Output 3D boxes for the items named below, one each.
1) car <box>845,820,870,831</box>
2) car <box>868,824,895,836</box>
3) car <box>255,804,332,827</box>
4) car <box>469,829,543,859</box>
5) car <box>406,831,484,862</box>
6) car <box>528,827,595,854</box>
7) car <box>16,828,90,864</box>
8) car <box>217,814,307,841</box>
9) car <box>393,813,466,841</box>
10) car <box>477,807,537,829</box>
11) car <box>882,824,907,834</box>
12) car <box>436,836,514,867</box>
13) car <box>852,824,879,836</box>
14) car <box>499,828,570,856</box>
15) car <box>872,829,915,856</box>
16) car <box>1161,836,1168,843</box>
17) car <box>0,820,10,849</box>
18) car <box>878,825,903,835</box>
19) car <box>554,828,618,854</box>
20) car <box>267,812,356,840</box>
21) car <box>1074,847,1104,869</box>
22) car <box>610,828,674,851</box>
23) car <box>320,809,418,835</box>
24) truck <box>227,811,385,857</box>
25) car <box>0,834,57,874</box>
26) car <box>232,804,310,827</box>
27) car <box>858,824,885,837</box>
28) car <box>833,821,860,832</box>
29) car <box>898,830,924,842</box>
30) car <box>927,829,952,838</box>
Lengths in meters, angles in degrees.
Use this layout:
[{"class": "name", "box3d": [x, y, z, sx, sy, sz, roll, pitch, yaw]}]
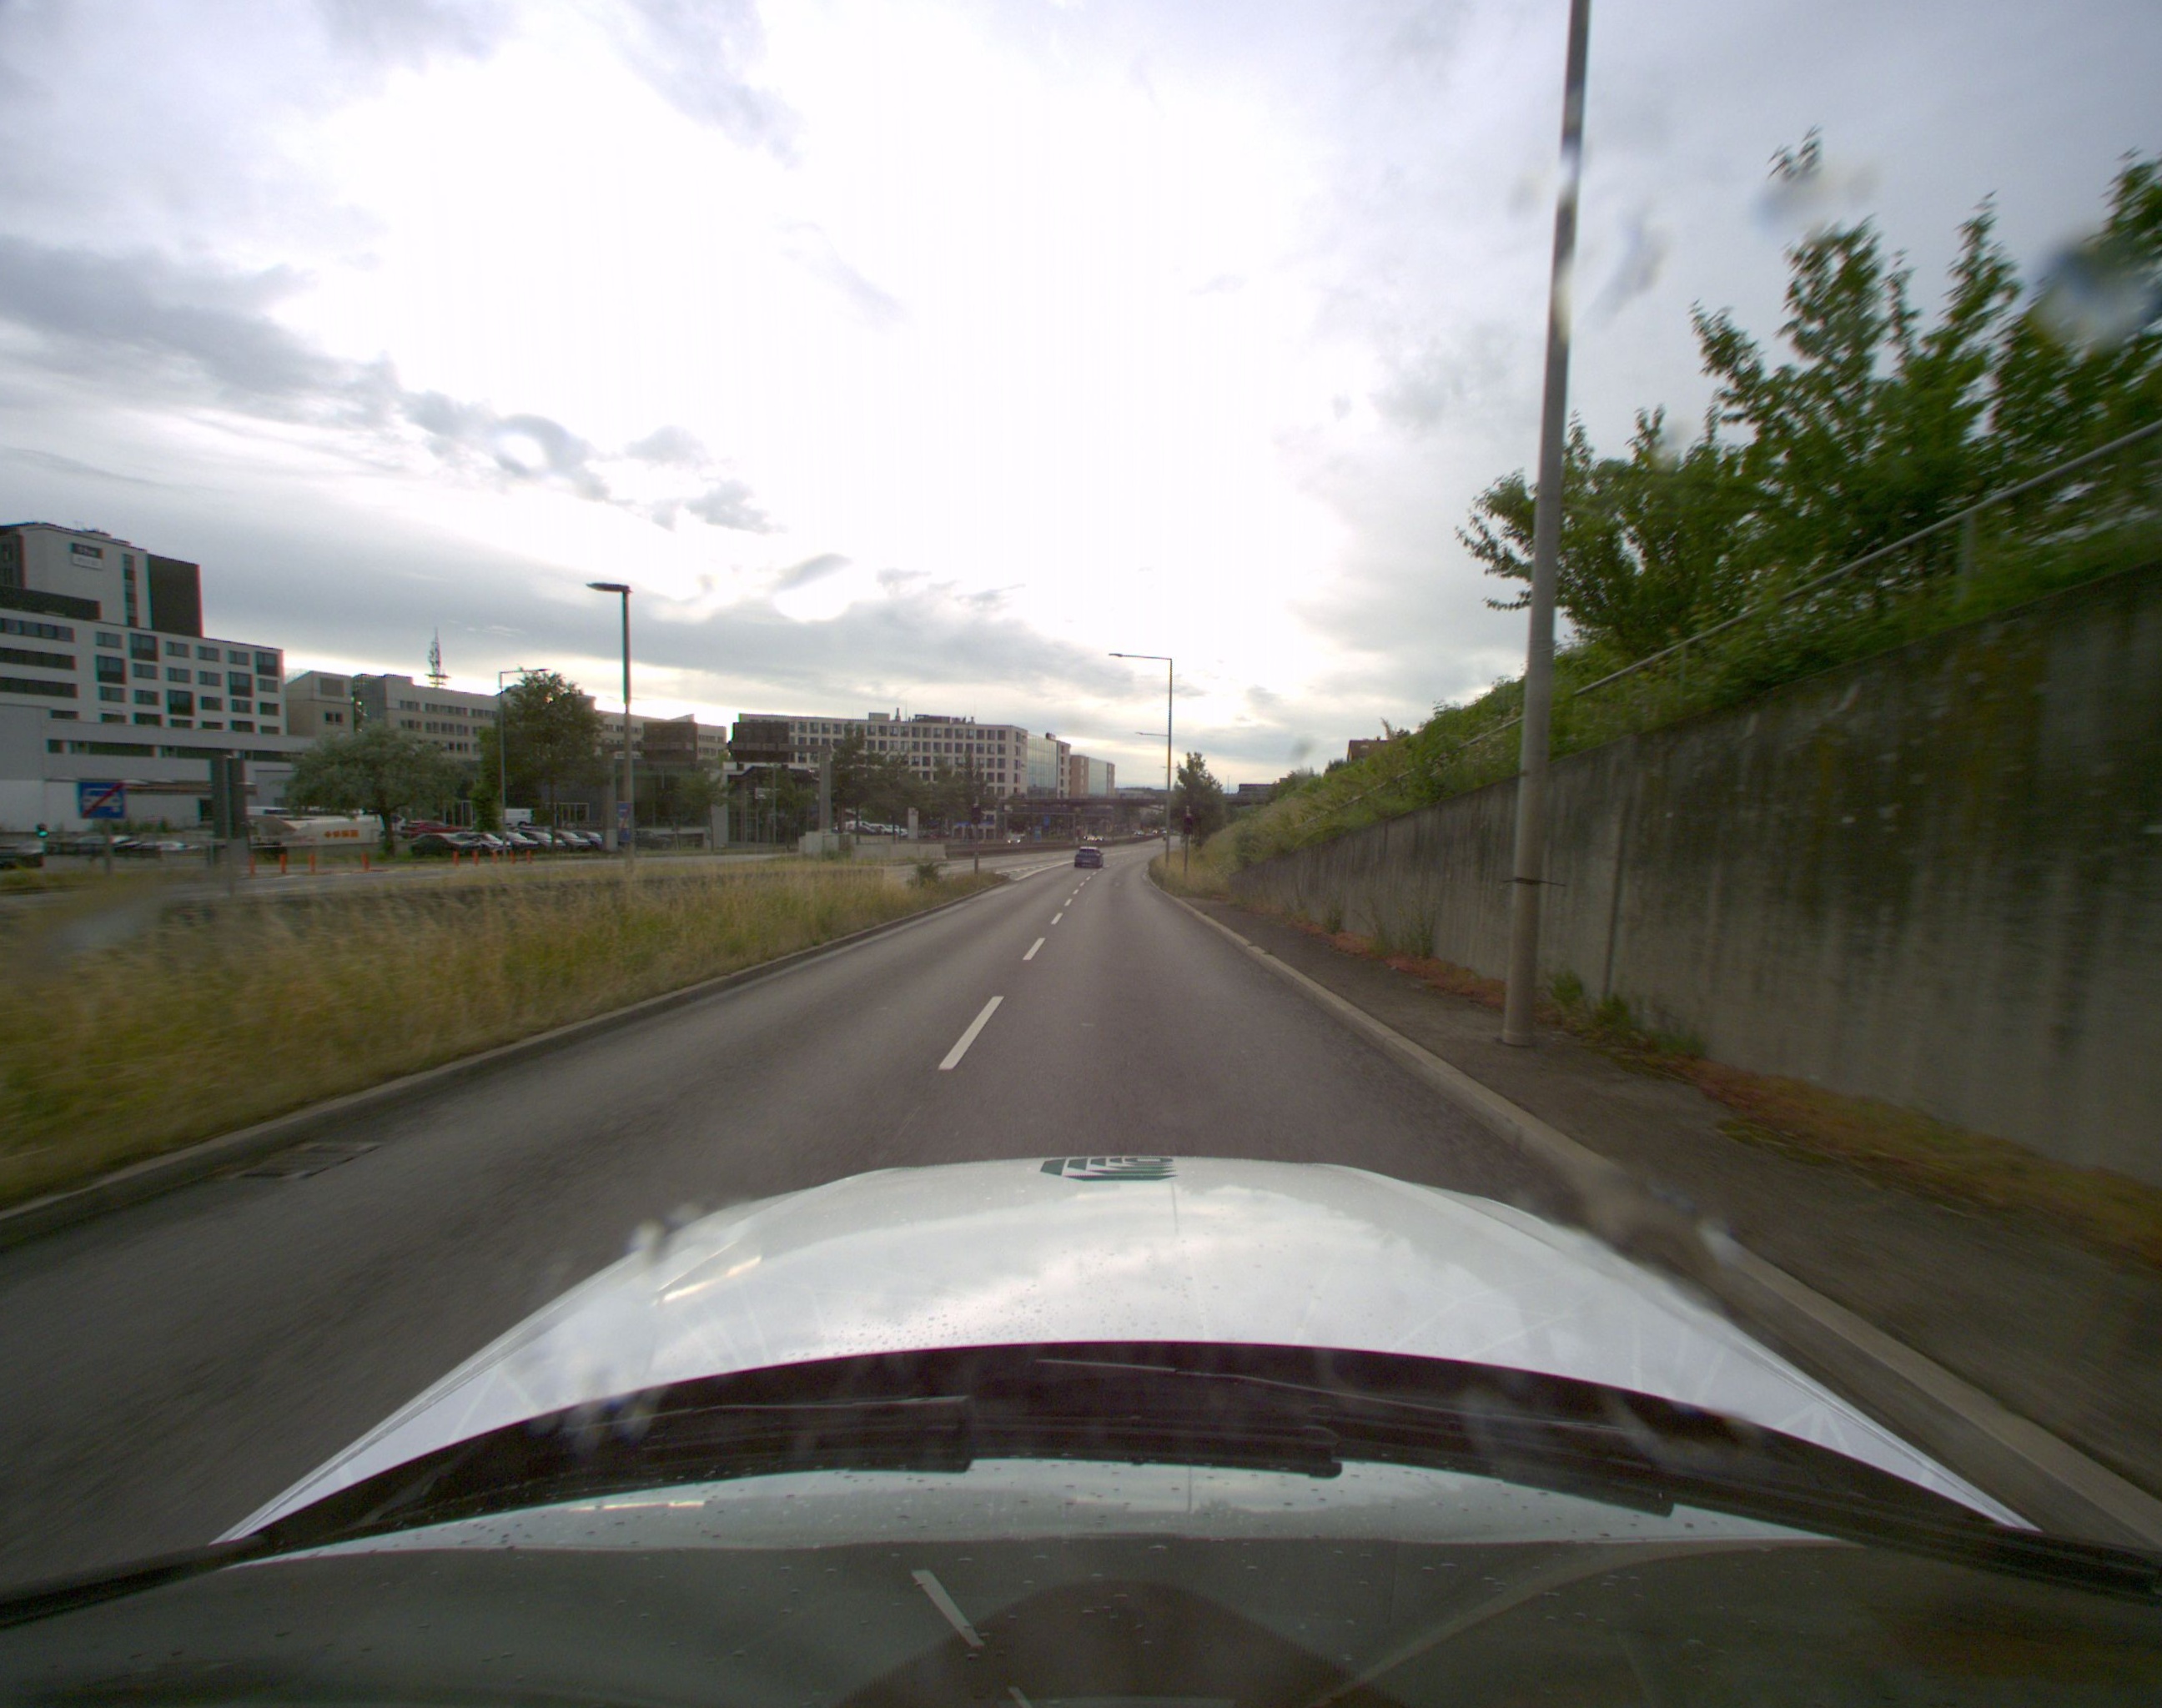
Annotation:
[{"class": "car", "box3d": [-40.880, -5.214, 149.087, 3.967, 1.650, 1.825, 4, 4, 5]}, {"class": "car", "box3d": [-35.030, -4.207, 143.080, 3.959, 1.875, 2.009, 4, 4, 14]}, {"class": "car", "box3d": [-63.264, -3.106, 65.484, 1.903, 1.683, 4.017, 4, 4, 14]}, {"class": "car", "box3d": [-40.146, -0.719, 56.874, 3.963, 1.683, 1.929, 4, 4, 10]}, {"class": "car", "box3d": [-40.936, -0.496, 52.428, 3.976, 1.599, 1.705, 4, 4, 10]}, {"class": "car", "box3d": [-39.290, -1.043, 61.637, 3.963, 1.683, 1.929, 4, 4, 10]}, {"class": "car", "box3d": [-63.329, -0.534, 50.233, 2.010, 1.880, 3.956, 0, 5, -39]}, {"class": "car", "box3d": [-57.608, -1.928, 57.363, 1.903, 1.683, 4.017, 4, 4, 14]}, {"class": "car", "box3d": [-50.060, -2.119, 62.645, 1.888, 1.880, 4.018, 4, 4, 15]}, {"class": "car", "box3d": [-50.924, -3.195, 72.340, 4.001, 1.781, 1.911, 1, 4, -21]}, {"class": "car", "box3d": [-34.659, -4.639, 151.066, 3.959, 1.650, 2.009, 4, 4, 14]}, {"class": "car", "box3d": [-40.538, -0.208, 54.503, 3.963, 1.683, 1.929, 4, 4, 10]}, {"class": "car", "box3d": [-36.552, -4.115, 138.180, 3.966, 1.650, 2.005, 4, 4, 7]}, {"class": "car", "box3d": [-39.748, -0.888, 59.267, 3.963, 1.683, 1.929, 4, 4, 10]}, {"class": "car", "box3d": [-12.884, -0.814, 56.222, 1.679, 1.589, 3.558, 4, 4, 7]}, {"class": "car", "box3d": [24.629, -4.138, 239.191, 1.853, 1.749, 4.009, 3, 4, 6]}, {"class": "car", "box3d": [-66.725, -1.103, 48.884, 2.010, 1.705, 3.956, 0, 5, -39]}, {"class": "car", "box3d": [-34.712, -4.399, 148.494, 3.959, 1.650, 2.009, 4, 4, 14]}, {"class": "car", "box3d": [-38.842, -1.045, 63.963, 3.963, 1.683, 1.929, 4, 4, 10]}, {"class": "car", "box3d": [-52.784, -1.960, 55.968, 1.903, 1.683, 4.017, 4, 4, 14]}, {"class": "car", "box3d": [0.629, 0.272, 57.735, 1.739, 1.420, 3.485, -1, 2, 7]}, {"class": "car", "box3d": [-37.441, -1.250, 69.595, 1.900, 1.683, 4.530, 5, 5, 27]}, {"class": "car", "box3d": [-55.484, -2.479, 63.658, 1.979, 1.881, 5.559, 4, 3, 15]}, {"class": "truck", "box3d": [-50.139, -1.410, 53.045, 2.351, 2.526, 7.438, 4, 4, 11]}, {"class": "car", "box3d": [-60.098, -0.017, 45.967, 2.010, 1.880, 3.956, 0, 5, -39]}, {"class": "car", "box3d": [-65.538, -3.172, 65.953, 1.903, 1.683, 4.017, 4, 4, 14]}, {"class": "car", "box3d": [-36.289, -4.110, 140.860, 3.959, 2.013, 2.008, 3, 1, 14]}, {"class": "car", "box3d": [-41.051, -4.842, 142.742, 3.966, 1.650, 2.005, 4, 4, 7]}, {"class": "car", "box3d": [-28.014, -3.008, 134.242, 4.001, 1.650, 1.987, 3, 2, -21]}, {"class": "car", "box3d": [-25.422, -3.653, 146.568, 3.962, 1.353, 1.856, 4, 2, 11]}]
